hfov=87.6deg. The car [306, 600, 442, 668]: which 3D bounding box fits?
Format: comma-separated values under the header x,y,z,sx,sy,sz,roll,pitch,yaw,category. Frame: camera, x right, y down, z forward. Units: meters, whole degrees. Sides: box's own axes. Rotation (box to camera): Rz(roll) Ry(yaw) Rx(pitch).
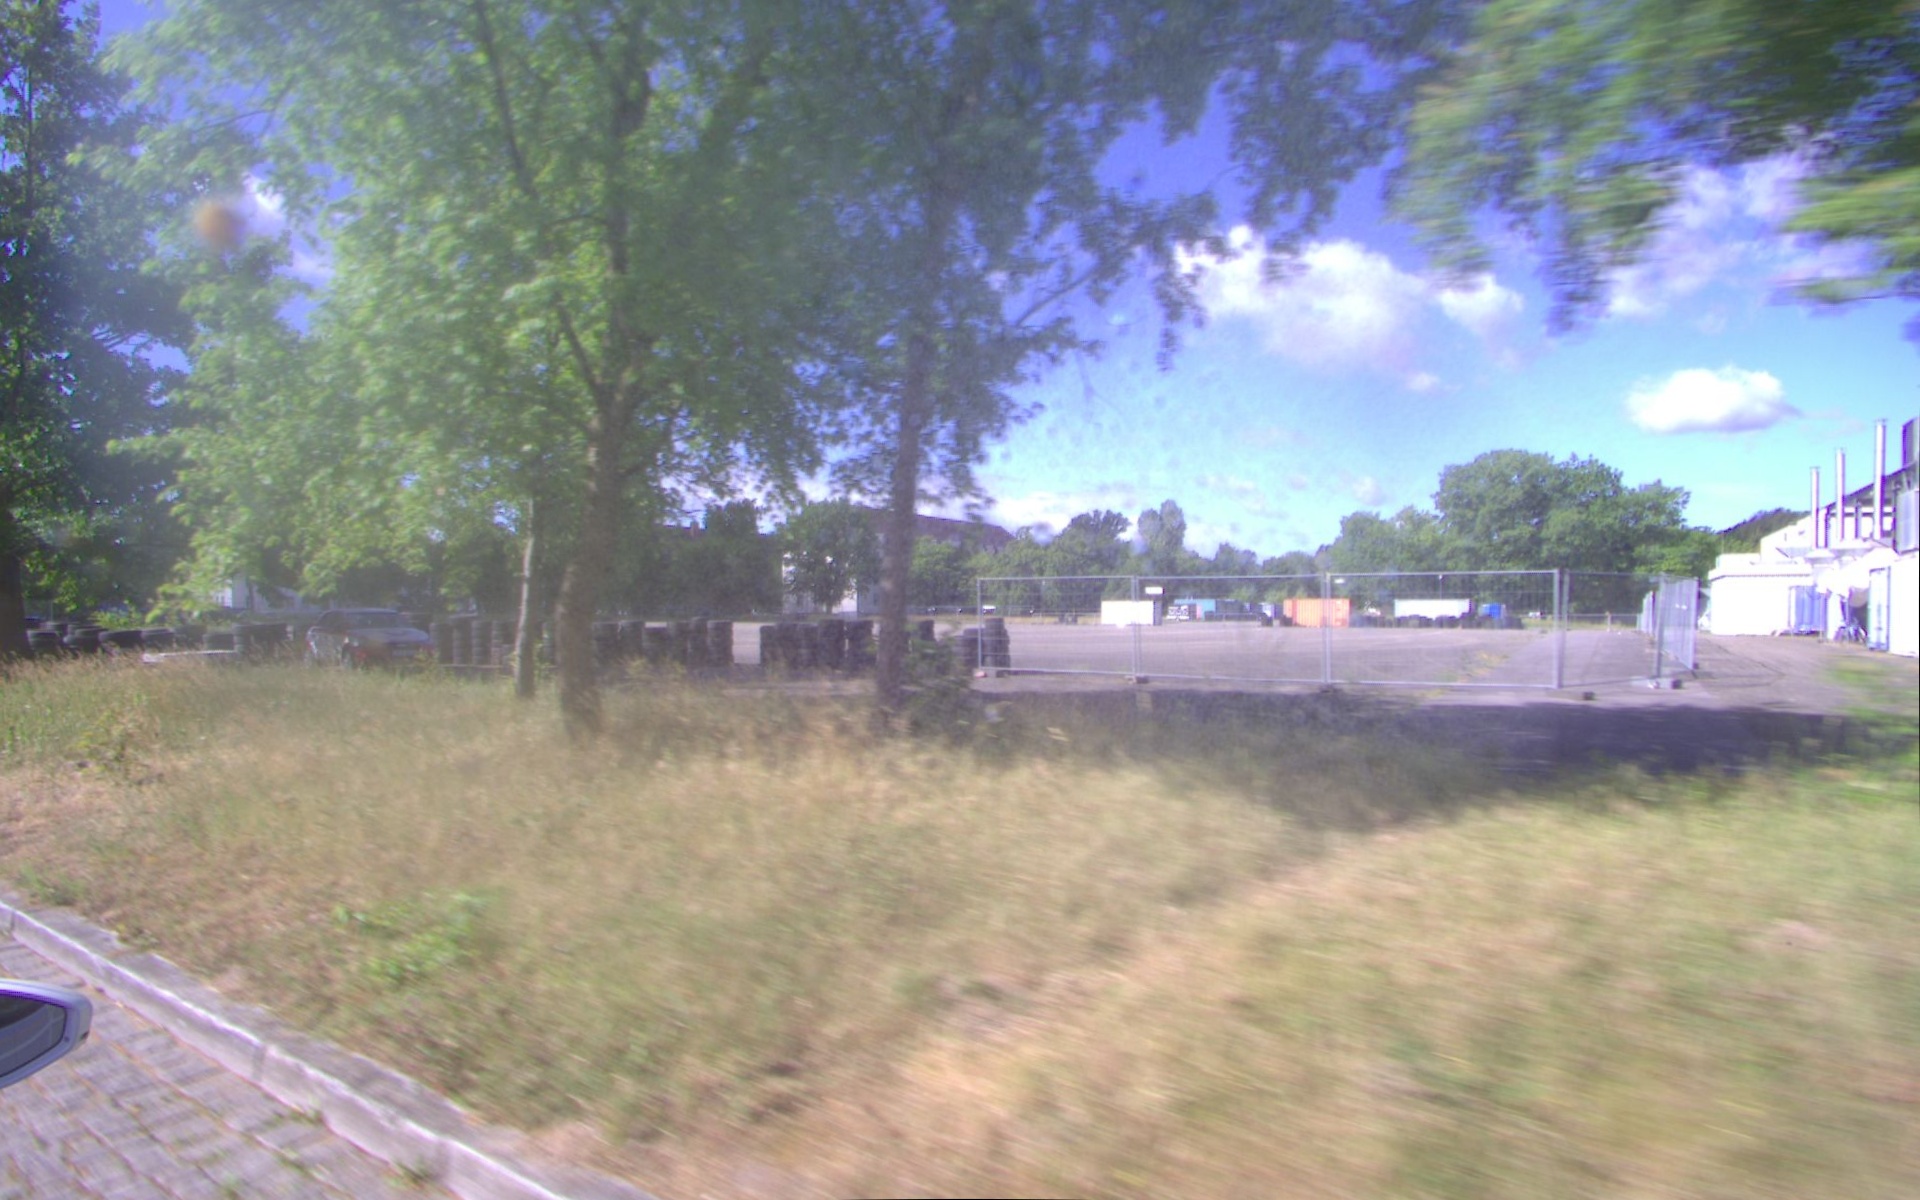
x,y,z,sx,sy,sz,roll,pitch,yaw,category
-13.282,0.721,22.639,3.534,1.425,1.534,0,0,39,car
